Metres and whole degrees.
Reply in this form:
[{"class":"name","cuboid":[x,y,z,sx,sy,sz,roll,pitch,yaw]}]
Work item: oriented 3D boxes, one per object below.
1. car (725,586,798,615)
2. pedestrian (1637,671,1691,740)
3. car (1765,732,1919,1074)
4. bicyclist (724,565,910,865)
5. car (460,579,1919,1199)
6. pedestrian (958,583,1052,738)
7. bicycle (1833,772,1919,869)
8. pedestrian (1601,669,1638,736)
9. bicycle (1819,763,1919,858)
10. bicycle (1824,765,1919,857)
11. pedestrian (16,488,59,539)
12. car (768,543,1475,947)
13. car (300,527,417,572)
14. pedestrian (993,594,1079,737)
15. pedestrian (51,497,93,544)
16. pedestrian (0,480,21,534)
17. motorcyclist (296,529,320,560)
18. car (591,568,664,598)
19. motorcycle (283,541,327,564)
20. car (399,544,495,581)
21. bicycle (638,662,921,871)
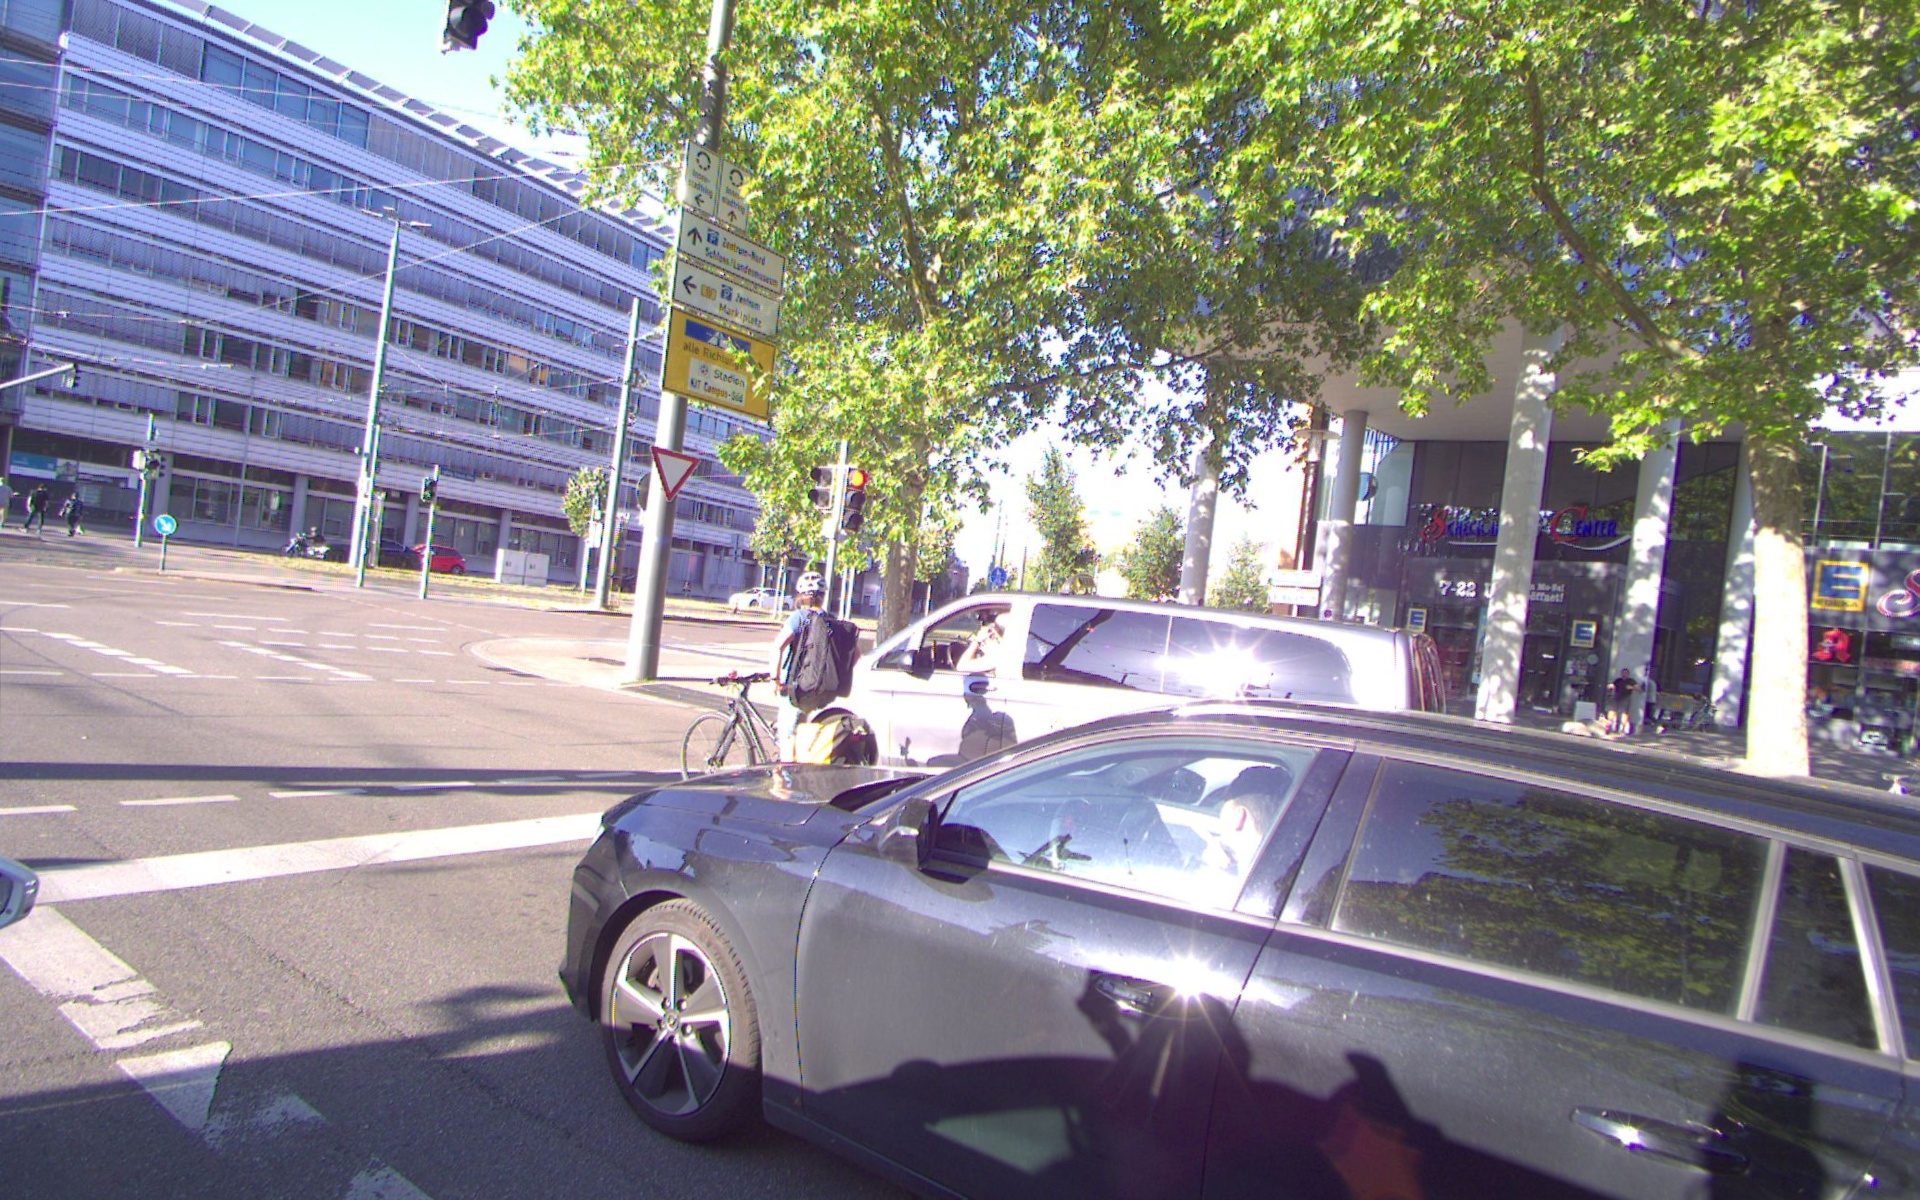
[{"class":"car","cuboid":[-12.925,0.047,65.629,1.758,1.353,4.605,7,0,37]},{"class":"pedestrian","cuboid":[19.245,2.875,27.529,0.705,1.728,0.806,7,1,-1]},{"class":"car","cuboid":[6.560,1.734,4.575,4.181,1.503,1.741,7,0,31]},{"class":"bicyclist","cuboid":[-0.900,0.691,6.381,0.766,1.714,0.632,7,1,32]},{"class":"car","cuboid":[0.758,0.939,2.761,4.199,1.431,1.742,7,-2,32]},{"class":"pedestrian","cuboid":[0.587,0.777,13.009,0.800,1.868,0.642,7,1,30]},{"class":"bicycle","cuboid":[10.542,2.479,11.099,1.233,0.898,0.462,7,1,32]},{"class":"pedestrian","cuboid":[17.502,2.728,26.693,0.598,1.707,0.511,6,1,-41]},{"class":"bicycle","cuboid":[11.200,2.545,12.085,0.437,0.930,1.210,6,0,-39]},{"class":"bicycle","cuboid":[11.498,2.607,12.357,0.460,0.938,1.210,6,0,-39]},{"class":"pedestrian","cuboid":[-34.159,-3.209,37.245,1.020,1.706,0.912,7,1,39]},{"class":"car","cuboid":[1.107,0.843,7.986,5.012,2.004,1.939,7,0,31]},{"class":"car","cuboid":[-27.254,-2.268,45.699,1.758,1.415,4.157,7,0,37]},{"class":"pedestrian","cuboid":[1.031,0.881,13.616,0.751,1.799,0.648,7,1,29]},{"class":"pedestrian","cuboid":[-32.971,-2.940,37.357,0.884,1.583,0.947,7,1,41]},{"class":"pedestrian","cuboid":[-33.986,-3.316,35.589,0.858,1.811,0.863,7,1,38]},{"class":"motorcyclist","cuboid":[-30.068,-2.560,46.419,0.452,1.291,0.712,7,1,36]},{"class":"car","cuboid":[-21.838,-1.110,66.194,1.758,1.415,4.157,7,0,37]},{"class":"motorcycle","cuboid":[-30.157,-2.185,46.325,0.460,0.820,1.568,7,0,36]},{"class":"car","cuboid":[-26.347,-1.909,51.793,1.758,1.411,3.984,7,1,37]},{"class":"bicycle","cuboid":[-1.224,1.025,6.620,1.839,0.993,0.561,7,1,32]}]
